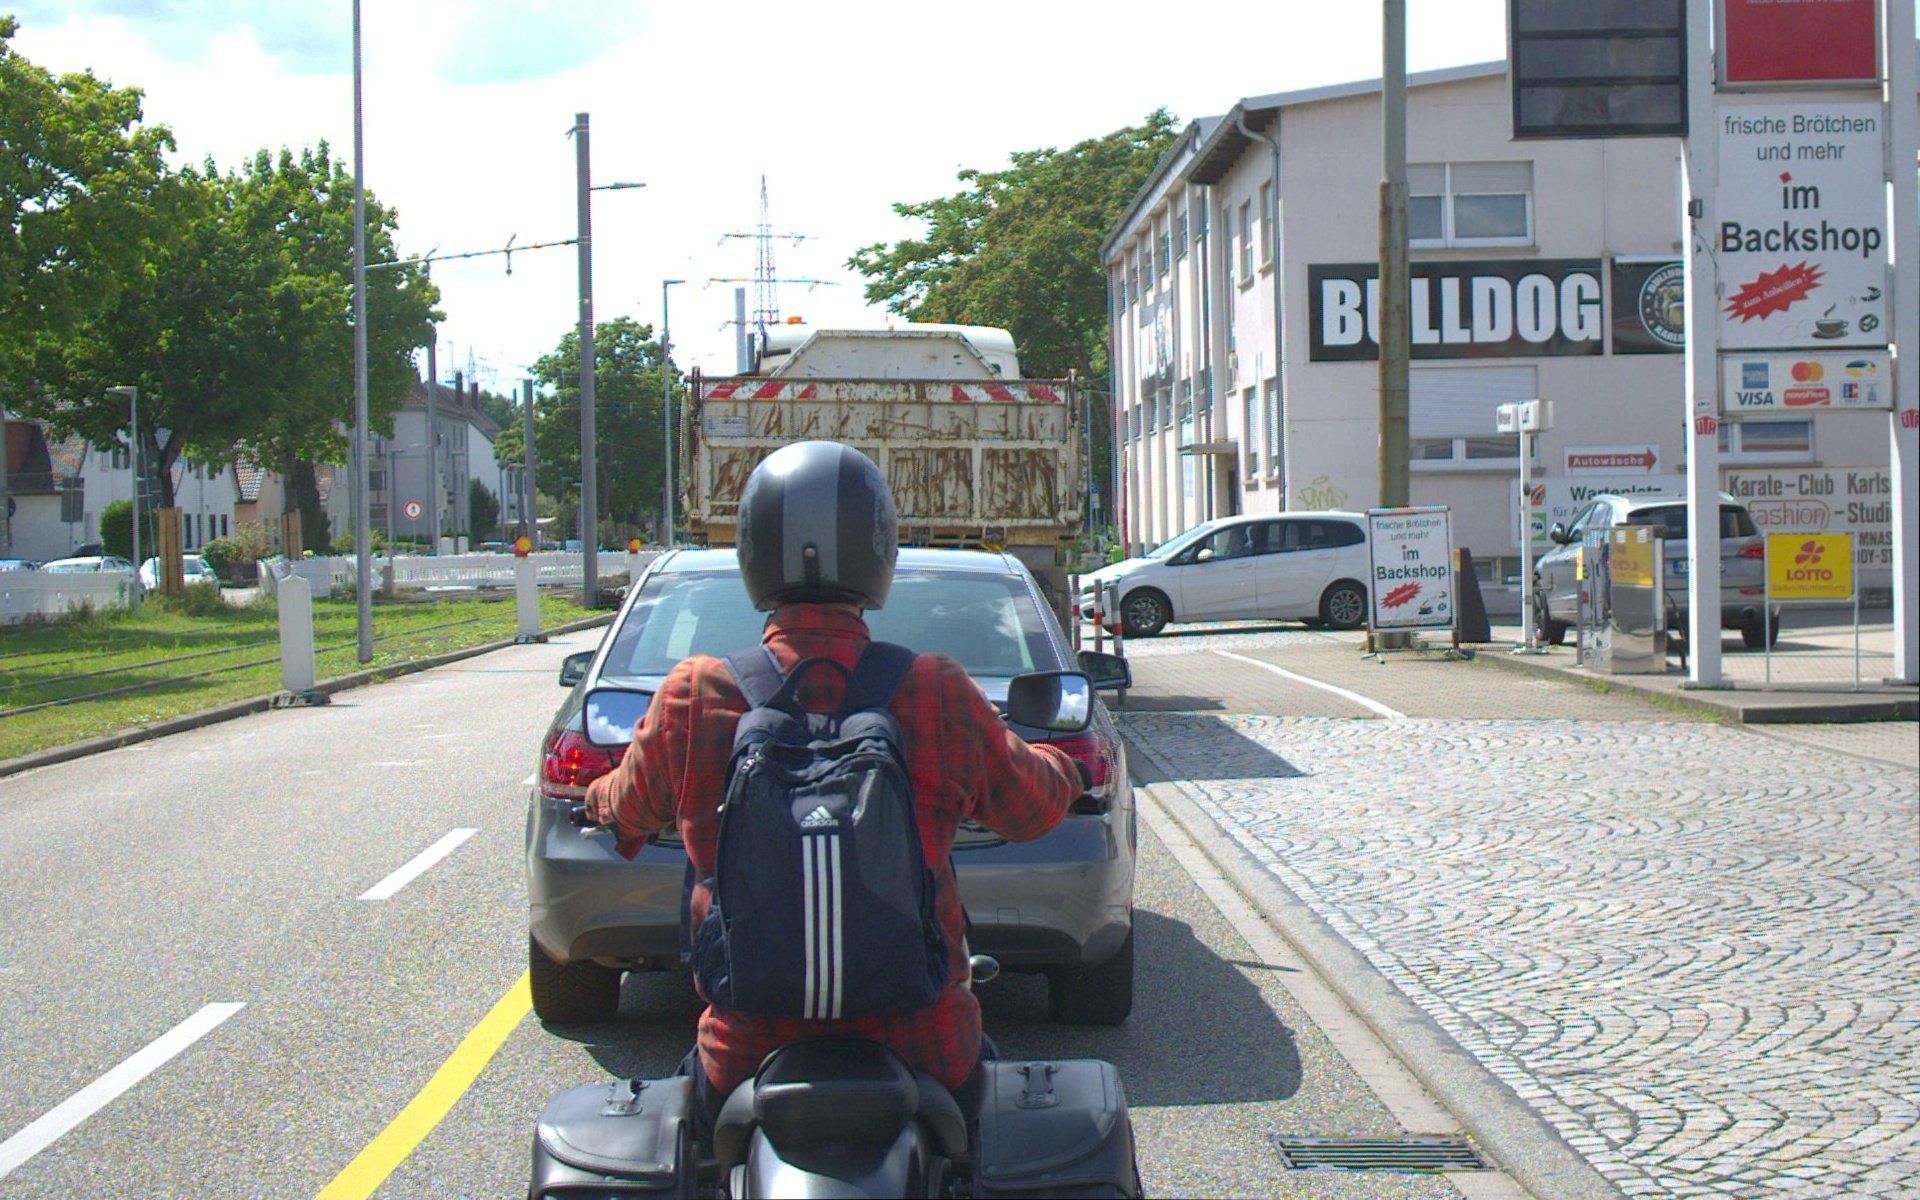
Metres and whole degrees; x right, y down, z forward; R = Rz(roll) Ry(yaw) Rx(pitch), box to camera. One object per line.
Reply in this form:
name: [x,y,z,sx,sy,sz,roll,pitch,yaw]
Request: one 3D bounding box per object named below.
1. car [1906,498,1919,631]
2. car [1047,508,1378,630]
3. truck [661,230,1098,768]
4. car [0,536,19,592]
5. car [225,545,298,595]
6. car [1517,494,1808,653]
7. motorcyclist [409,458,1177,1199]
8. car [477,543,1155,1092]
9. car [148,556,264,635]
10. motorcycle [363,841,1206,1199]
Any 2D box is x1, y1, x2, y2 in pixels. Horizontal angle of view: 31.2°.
car: [11.734,-0.385,37.091,1.806,1.498,3.834,-1,1,-3]
car: [3.428,-0.439,47.045,4.229,1.537,1.673,-1,1,-8]
truck: [-0.542,-0.718,25.364,2.638,3.285,8.057,-1,1,-1]
car: [-30.045,-1.068,104.406,1.776,1.717,4.128,-1,1,0]
car: [-25.420,-1.107,125.242,1.776,1.717,4.128,-1,1,0]
car: [7.379,-0.310,36.522,1.667,1.557,4.245,-1,1,-8]
motorcyclist: [-0.215,0.612,5.028,0.979,1.597,1.088,-1,1,-1]
car: [-0.415,0.561,11.355,1.823,1.447,4.000,1,1,-1]
car: [-17.497,-0.136,79.961,1.776,1.717,4.128,-1,1,0]
motorcycle: [-0.211,0.954,5.340,0.979,0.894,2.653,-1,1,-1]
